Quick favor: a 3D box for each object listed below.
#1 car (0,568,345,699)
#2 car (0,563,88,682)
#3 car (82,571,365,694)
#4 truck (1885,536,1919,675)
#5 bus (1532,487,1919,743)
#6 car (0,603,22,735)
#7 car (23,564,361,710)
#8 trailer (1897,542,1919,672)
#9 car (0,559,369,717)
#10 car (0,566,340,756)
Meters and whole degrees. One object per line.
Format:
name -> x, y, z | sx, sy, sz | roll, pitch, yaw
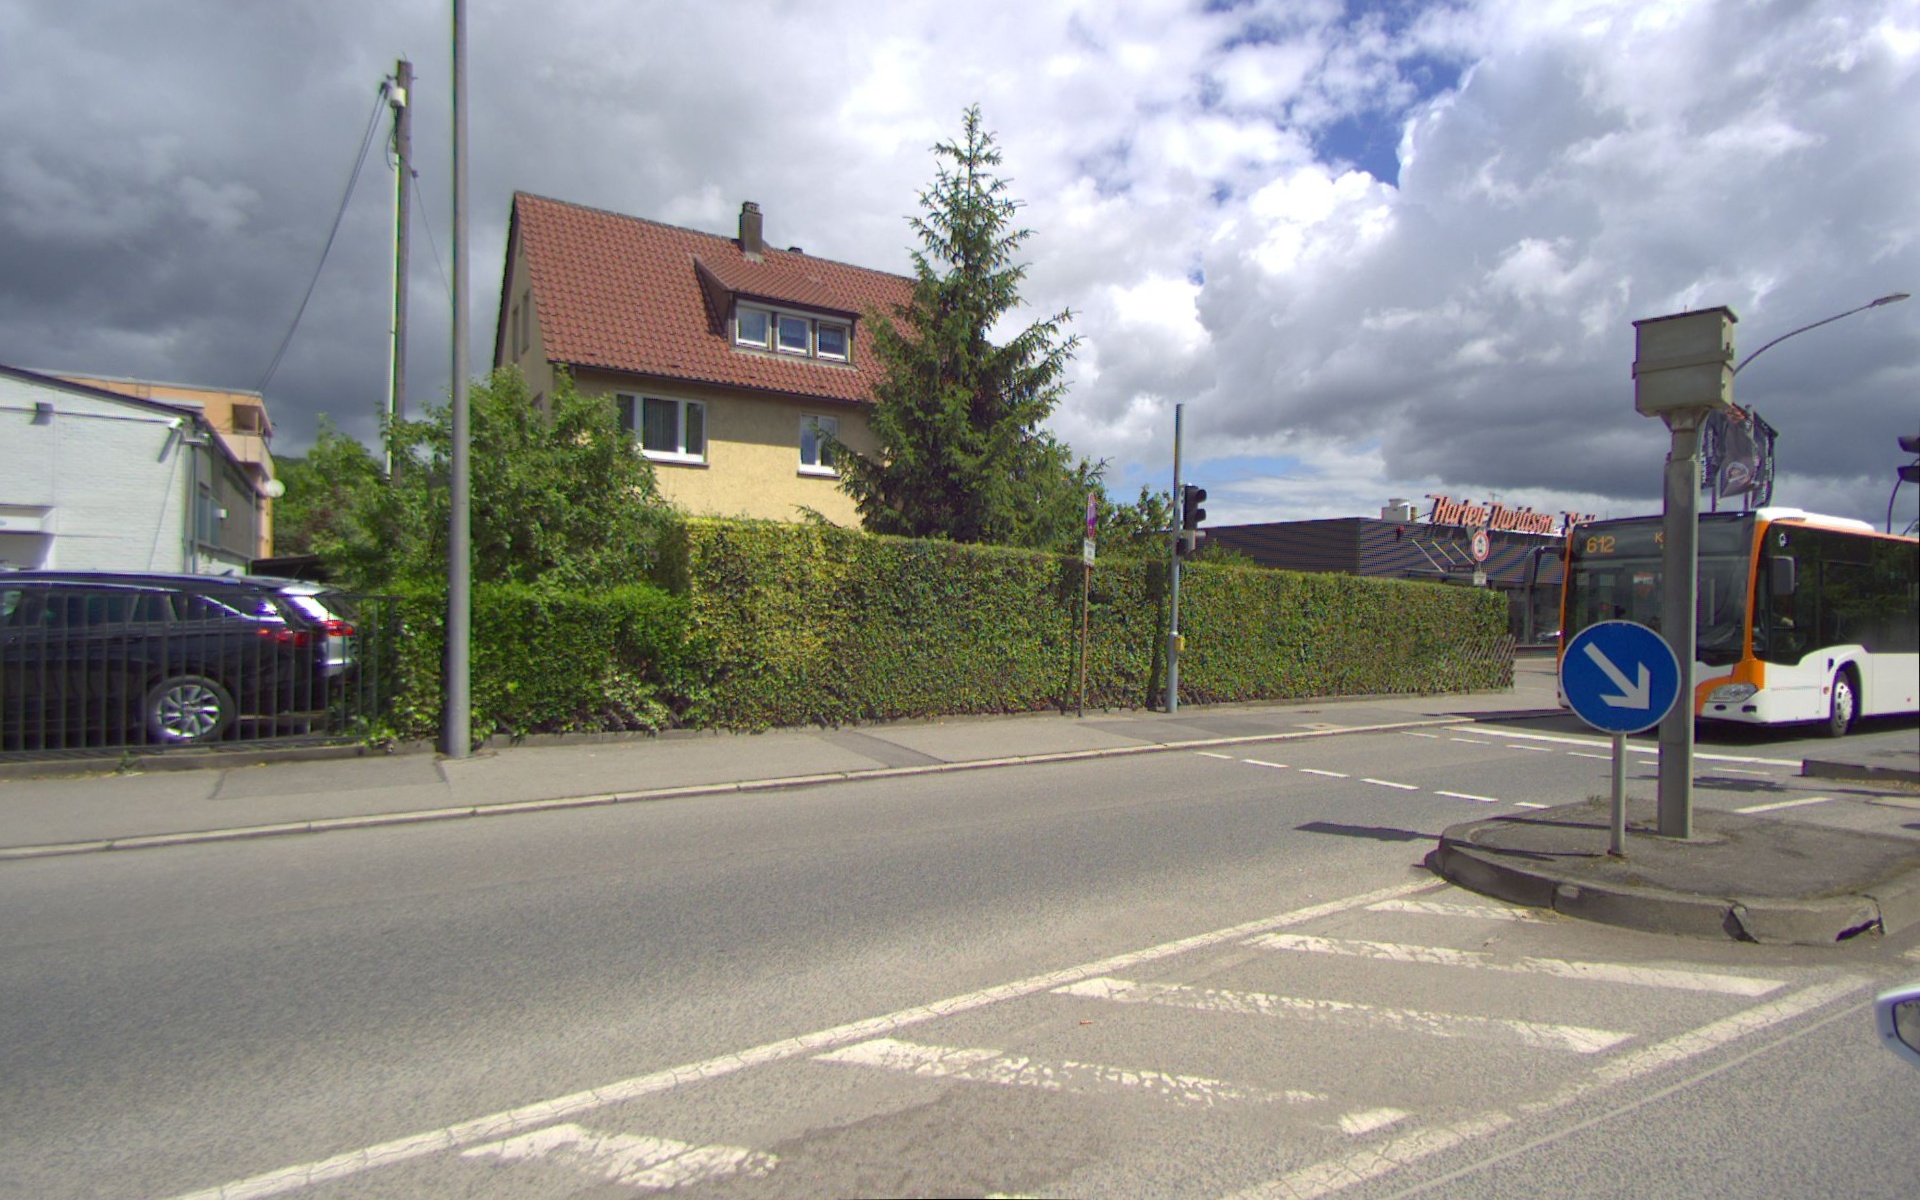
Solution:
car -> -10.724, 0.431, 13.631 | 3.953, 1.569, 1.984 | 2, 0, -30
car -> -17.987, 0.342, 17.424 | 3.953, 2.040, 1.984 | 2, 0, -30
car -> -13.323, 0.582, 18.528 | 3.953, 2.040, 1.984 | 2, 0, -30
truck -> 31.338, 0.255, 31.353 | 6.448, 4.107, 2.775 | 2, 0, -40
bus -> 14.091, 0.364, 16.309 | 12.123, 3.071, 2.706 | 2, -1, -31
car -> -16.710, 1.037, 14.700 | 3.953, 2.040, 1.984 | 2, 0, -30
car -> -11.826, 0.557, 15.885 | 3.953, 2.040, 1.984 | 2, 0, -30
trailer -> 36.709, 0.438, 35.961 | 15.429, 4.107, 2.775 | 2, 0, -40
car -> -9.016, 0.393, 11.359 | 3.953, 1.561, 1.984 | 2, 0, -30
car -> -7.856, 0.477, 8.856 | 3.997, 1.502, 1.850 | 2, 0, -31
